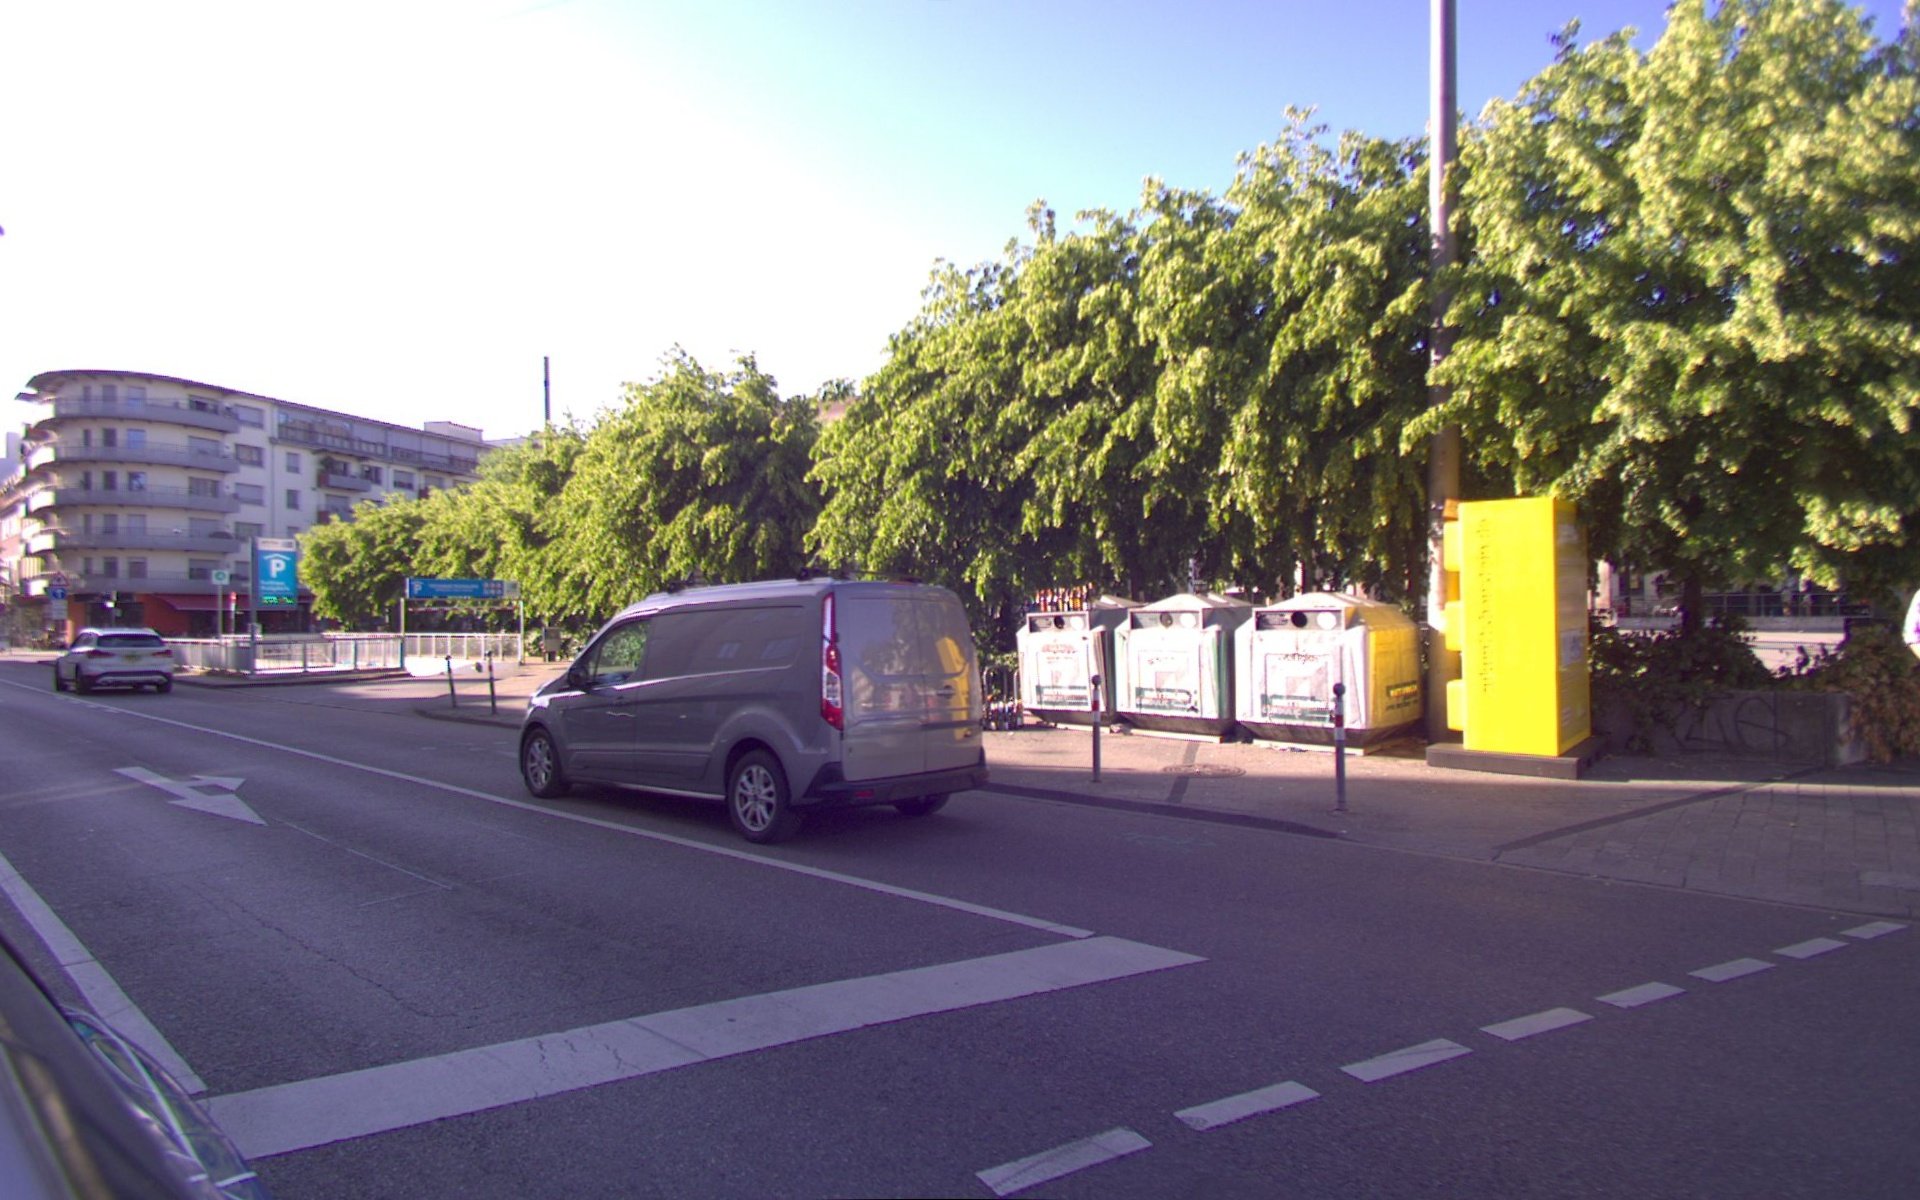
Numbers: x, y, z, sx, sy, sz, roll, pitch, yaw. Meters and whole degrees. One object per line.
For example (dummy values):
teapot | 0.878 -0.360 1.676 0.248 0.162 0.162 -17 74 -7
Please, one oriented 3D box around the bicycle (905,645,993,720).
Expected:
bicycle | -0.147 1.186 14.897 0.364 1.010 1.539 -2 -1 40

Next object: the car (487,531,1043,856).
car | -1.831 0.660 8.444 4.780 1.962 1.973 -2 -4 40

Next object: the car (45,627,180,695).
car | -21.161 1.478 25.211 4.236 1.559 1.822 -2 -4 40

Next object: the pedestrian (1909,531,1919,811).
pedestrian | 7.082 0.482 6.942 0.784 1.933 0.601 -2 -1 43

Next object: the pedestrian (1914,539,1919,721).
pedestrian | 6.076 0.566 5.784 0.640 1.871 0.626 0 -1 -17
